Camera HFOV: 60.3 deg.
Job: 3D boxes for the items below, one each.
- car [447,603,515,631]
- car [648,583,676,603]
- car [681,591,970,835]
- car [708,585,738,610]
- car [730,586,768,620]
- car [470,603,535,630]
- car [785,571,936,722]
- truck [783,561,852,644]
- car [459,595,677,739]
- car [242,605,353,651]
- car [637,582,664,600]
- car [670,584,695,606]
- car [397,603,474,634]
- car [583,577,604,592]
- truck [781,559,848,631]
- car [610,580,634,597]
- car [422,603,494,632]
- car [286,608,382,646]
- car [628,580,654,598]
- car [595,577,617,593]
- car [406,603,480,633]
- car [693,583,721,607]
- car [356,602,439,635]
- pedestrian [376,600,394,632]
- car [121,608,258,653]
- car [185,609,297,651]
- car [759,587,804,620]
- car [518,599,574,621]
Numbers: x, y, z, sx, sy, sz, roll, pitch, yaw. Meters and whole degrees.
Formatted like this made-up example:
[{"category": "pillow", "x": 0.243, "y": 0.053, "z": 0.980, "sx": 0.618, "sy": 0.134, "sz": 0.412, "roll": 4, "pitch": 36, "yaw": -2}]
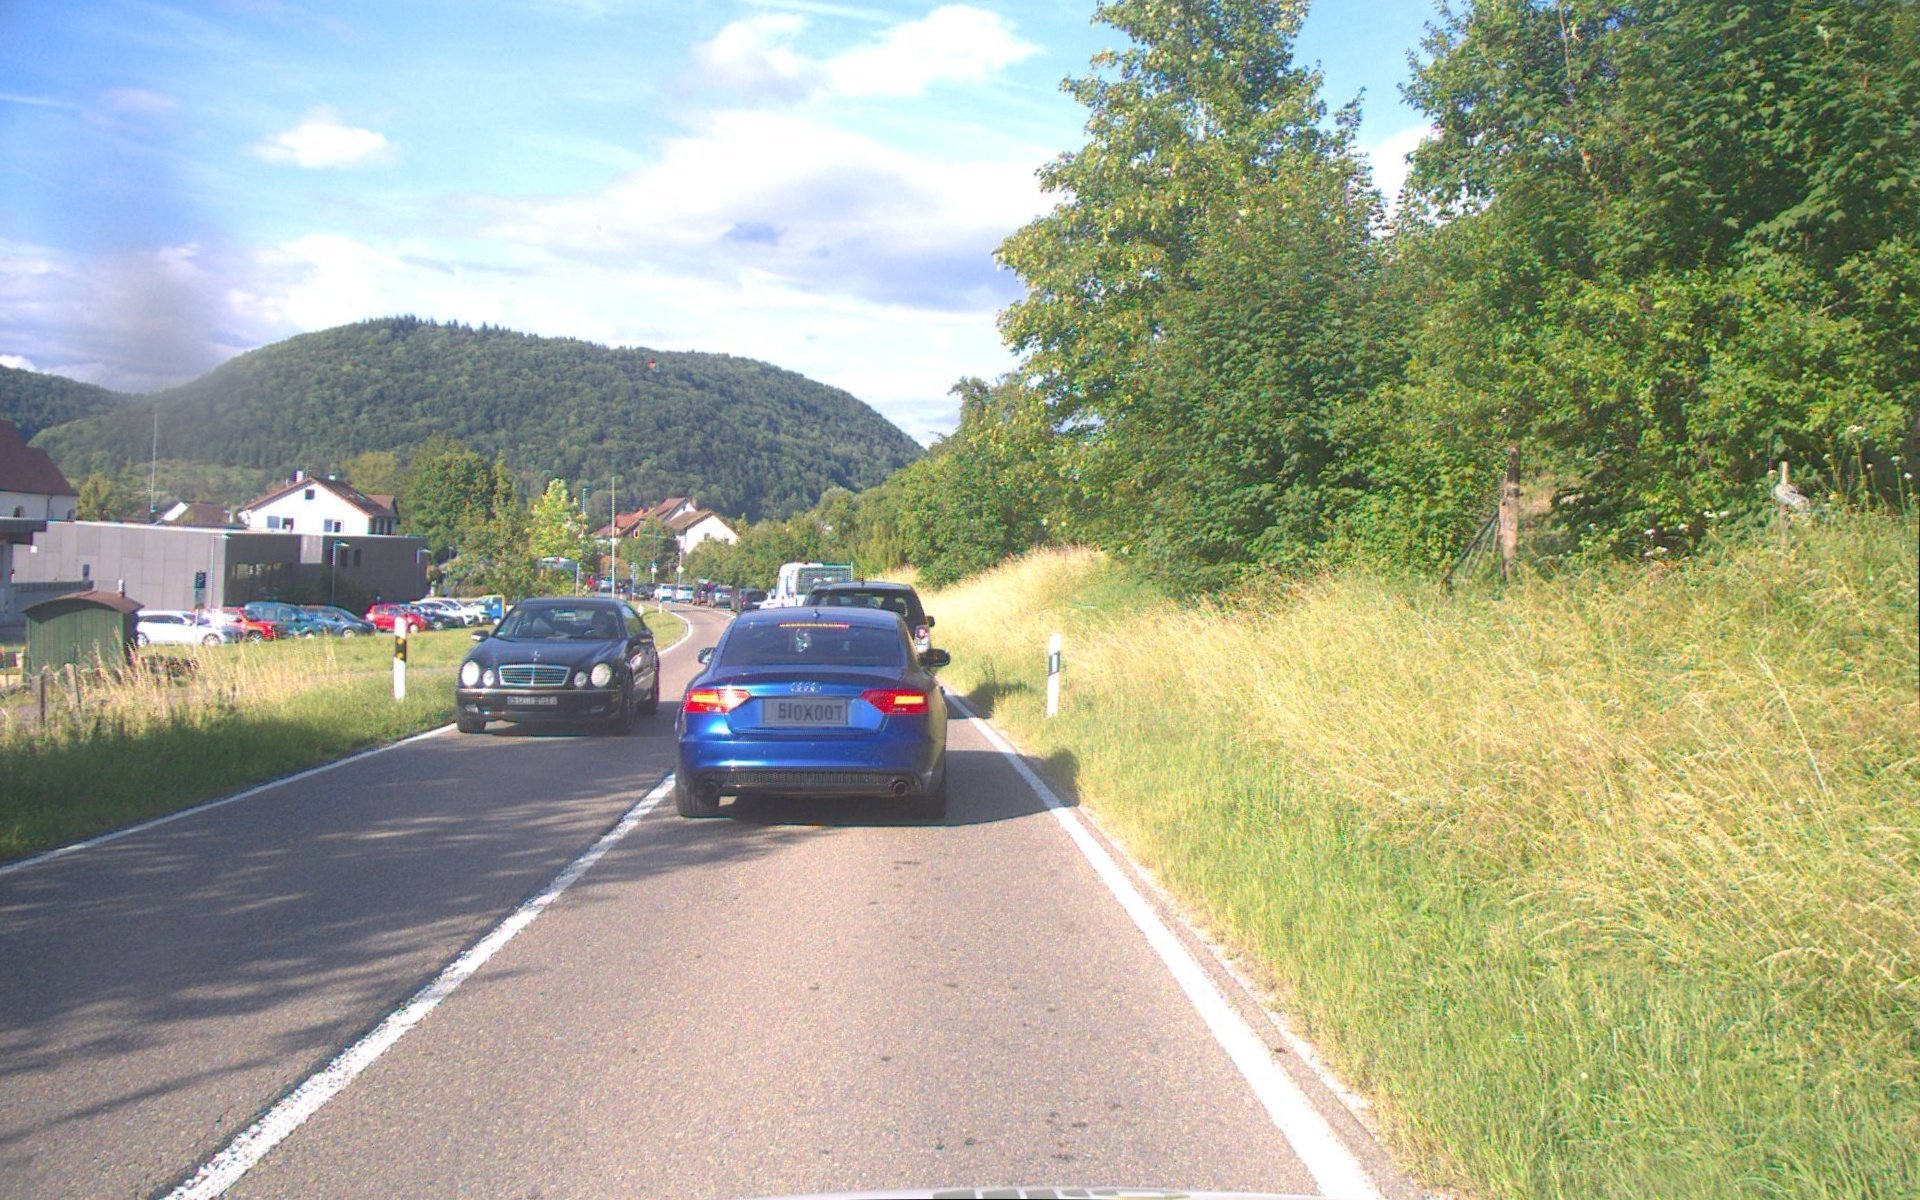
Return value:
[{"category": "car", "x": -31.429, "y": 1.096, "z": 108.563, "sx": 3.910, "sy": 1.741, "sz": 1.998, "roll": 1, "pitch": 0, "yaw": -6}, {"category": "car", "x": -26.702, "y": -0.619, "z": 148.134, "sx": 1.819, "sy": 1.742, "sz": 3.975, "roll": 1, "pitch": 0, "yaw": -21}, {"category": "car", "x": -0.885, "y": 0.691, "z": 11.920, "sx": 1.719, "sy": 1.455, "sz": 3.844, "roll": 1, "pitch": 0, "yaw": -2}, {"category": "car", "x": -16.874, "y": -0.156, "z": 117.592, "sx": 1.813, "sy": 1.742, "sz": 3.988, "roll": 1, "pitch": 0, "yaw": -12}, {"category": "car", "x": -11.388, "y": 0.174, "z": 89.175, "sx": 1.812, "sy": 1.742, "sz": 3.990, "roll": 1, "pitch": 0, "yaw": -10}, {"category": "car", "x": -30.737, "y": 1.116, "z": 111.236, "sx": 3.910, "sy": 1.741, "sz": 1.998, "roll": 1, "pitch": 0, "yaw": -6}, {"category": "car", "x": -1.229, "y": 0.545, "z": 21.024, "sx": 1.719, "sy": 1.710, "sz": 3.844, "roll": 1, "pitch": 0, "yaw": -2}, {"category": "truck", "x": -4.785, "y": 0.098, "z": 55.964, "sx": 2.186, "sy": 2.615, "sz": 6.098, "roll": 1, "pitch": 0, "yaw": -4}, {"category": "car", "x": -4.156, "y": 0.657, "z": 18.135, "sx": 1.562, "sy": 1.377, "sz": 4.200, "roll": 1, "pitch": 0, "yaw": -3}, {"category": "car", "x": -30.622, "y": 1.291, "z": 76.502, "sx": 4.321, "sy": 2.043, "sz": 1.998, "roll": 1, "pitch": 0, "yaw": -6}, {"category": "car", "x": -29.499, "y": -0.855, "z": 157.612, "sx": 1.819, "sy": 1.742, "sz": 3.975, "roll": 1, "pitch": 0, "yaw": -21}, {"category": "car", "x": -22.696, "y": -0.411, "z": 135.134, "sx": 1.813, "sy": 1.742, "sz": 3.988, "roll": 1, "pitch": 0, "yaw": -12}, {"category": "car", "x": -30.389, "y": 1.059, "z": 95.883, "sx": 3.910, "sy": 1.741, "sz": 1.998, "roll": 1, "pitch": 0, "yaw": -6}, {"category": "car", "x": -42.854, "y": -1.837, "z": 193.550, "sx": 1.819, "sy": 1.742, "sz": 3.975, "roll": 1, "pitch": 0, "yaw": -21}, {"category": "truck", "x": -5.658, "y": -0.174, "z": 63.677, "sx": 2.188, "sy": 2.615, "sz": 6.695, "roll": 1, "pitch": 0, "yaw": -8}, {"category": "car", "x": -35.711, "y": -1.189, "z": 174.606, "sx": 1.819, "sy": 1.742, "sz": 3.975, "roll": 1, "pitch": 0, "yaw": -21}, {"category": "car", "x": -31.155, "y": 1.076, "z": 102.786, "sx": 3.910, "sy": 1.741, "sz": 1.998, "roll": 1, "pitch": 0, "yaw": -6}, {"category": "car", "x": -30.449, "y": 1.309, "z": 80.551, "sx": 3.910, "sy": 1.741, "sz": 1.998, "roll": 1, "pitch": 0, "yaw": -6}, {"category": "car", "x": -27.720, "y": -0.944, "z": 143.644, "sx": 1.678, "sy": 1.455, "sz": 4.028, "roll": 1, "pitch": 0, "yaw": -19}, {"category": "car", "x": -39.513, "y": -1.686, "z": 184.693, "sx": 1.819, "sy": 1.742, "sz": 3.975, "roll": 1, "pitch": 0, "yaw": -21}, {"category": "car", "x": -31.067, "y": 1.064, "z": 99.503, "sx": 3.910, "sy": 1.741, "sz": 1.998, "roll": 1, "pitch": 0, "yaw": -6}, {"category": "car", "x": -19.121, "y": -0.349, "z": 125.027, "sx": 1.813, "sy": 1.742, "sz": 3.988, "roll": 1, "pitch": 0, "yaw": -12}, {"category": "car", "x": -31.010, "y": 1.032, "z": 91.265, "sx": 3.910, "sy": 1.741, "sz": 1.998, "roll": 1, "pitch": 0, "yaw": -6}, {"category": "pedestrian", "x": -37.092, "y": 1.023, "z": 106.695, "sx": 0.809, "sy": 2.049, "sz": 0.972, "roll": 1, "pitch": -1, "yaw": -4}, {"category": "car", "x": -31.566, "y": 1.242, "z": 67.856, "sx": 4.639, "sy": 1.741, "sz": 1.998, "roll": 1, "pitch": 0, "yaw": -6}, {"category": "car", "x": -30.669, "y": 1.266, "z": 70.679, "sx": 3.910, "sy": 1.741, "sz": 1.998, "roll": 1, "pitch": 0, "yaw": -6}, {"category": "car", "x": -8.494, "y": 0.171, "z": 78.295, "sx": 1.812, "sy": 1.508, "sz": 3.990, "roll": 1, "pitch": 0, "yaw": -10}, {"category": "car", "x": -31.417, "y": 0.754, "z": 125.604, "sx": 3.910, "sy": 1.606, "sz": 1.750, "roll": 1, "pitch": 0, "yaw": -6}]
